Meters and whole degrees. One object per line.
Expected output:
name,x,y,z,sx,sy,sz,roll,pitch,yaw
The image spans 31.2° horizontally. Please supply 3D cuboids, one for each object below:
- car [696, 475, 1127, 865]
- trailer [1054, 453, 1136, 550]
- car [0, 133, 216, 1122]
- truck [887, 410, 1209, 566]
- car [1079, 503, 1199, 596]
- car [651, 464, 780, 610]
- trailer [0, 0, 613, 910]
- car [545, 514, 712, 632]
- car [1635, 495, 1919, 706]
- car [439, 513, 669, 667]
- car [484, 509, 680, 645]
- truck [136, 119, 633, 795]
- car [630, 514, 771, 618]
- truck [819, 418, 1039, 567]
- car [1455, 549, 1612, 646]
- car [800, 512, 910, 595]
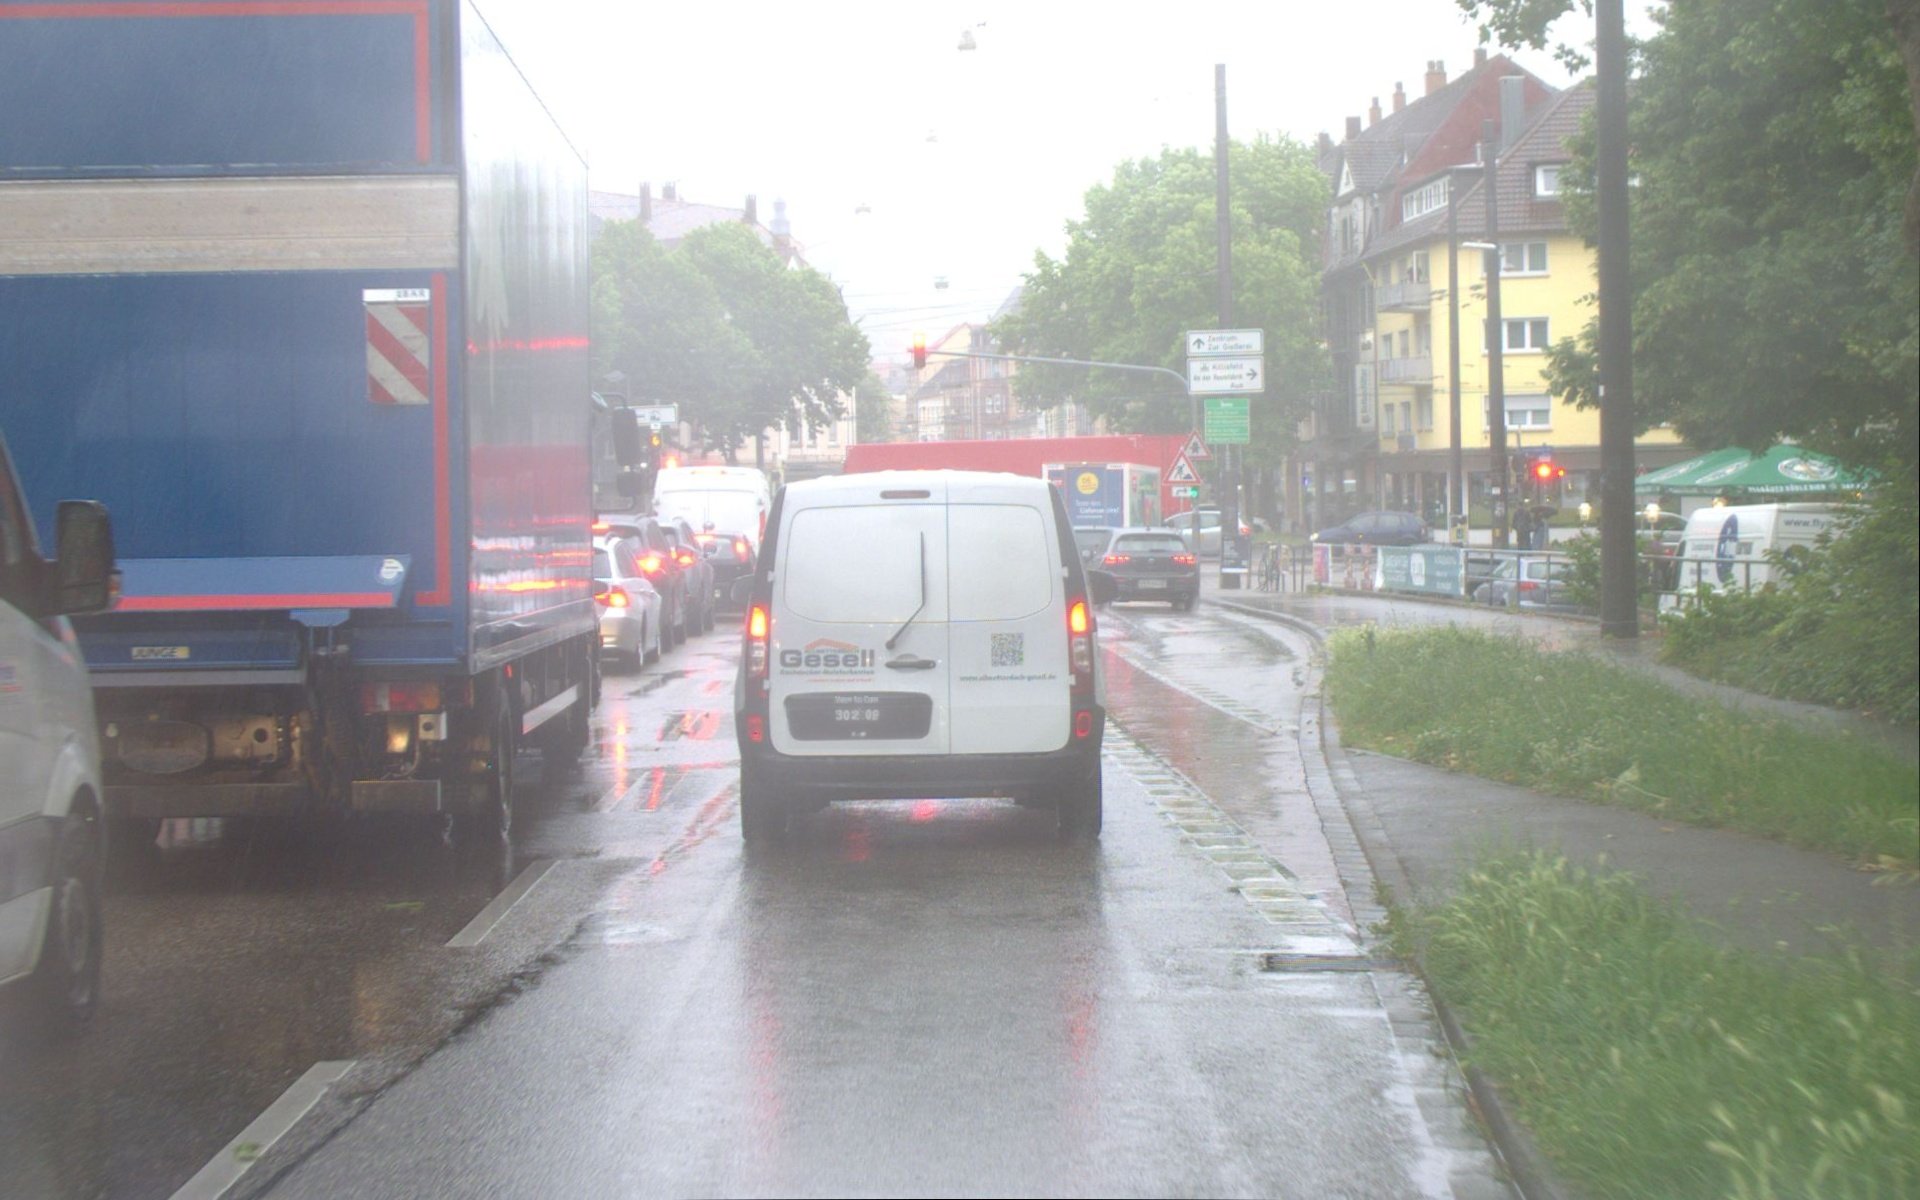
car,-0.249,0.308,17.497,1.959,1.771,3.570,0,0,-1
trailer,3.378,-2.439,85.962,1.994,2.309,4.668,0,0,2
car,-3.636,0.076,8.484,2.329,2.548,6.114,0,0,-1
truck,2.827,-3.692,115.315,11.392,4.882,3.281,0,3,44
car,3.124,-0.891,59.761,1.994,1.536,4.000,-1,1,3
car,-4.250,-1.101,60.449,1.993,2.433,4.612,1,1,-1
trailer,-3.358,-0.778,17.786,2.590,3.886,7.637,0,1,-2
car,-4.602,-0.397,48.329,1.993,1.573,4.292,1,1,-1
car,10.815,-0.083,45.594,2.179,2.523,5.779,-2,2,-4
car,-4.228,-0.153,36.398,1.993,1.467,4.267,1,2,-1
car,-4.597,-0.305,42.355,1.993,1.573,4.292,1,1,-1
truck,-3.510,-0.876,21.874,2.580,3.890,4.001,0,1,-2
car,-4.099,-0.562,54.937,1.993,1.573,4.292,1,1,-1
truck,-1.112,-3.688,119.175,7.175,4.882,3.281,0,3,44
car,9.982,-0.075,60.103,1.822,1.485,4.353,-2,2,-2
car,-1.876,-0.835,62.303,1.760,1.464,3.533,0,1,2
